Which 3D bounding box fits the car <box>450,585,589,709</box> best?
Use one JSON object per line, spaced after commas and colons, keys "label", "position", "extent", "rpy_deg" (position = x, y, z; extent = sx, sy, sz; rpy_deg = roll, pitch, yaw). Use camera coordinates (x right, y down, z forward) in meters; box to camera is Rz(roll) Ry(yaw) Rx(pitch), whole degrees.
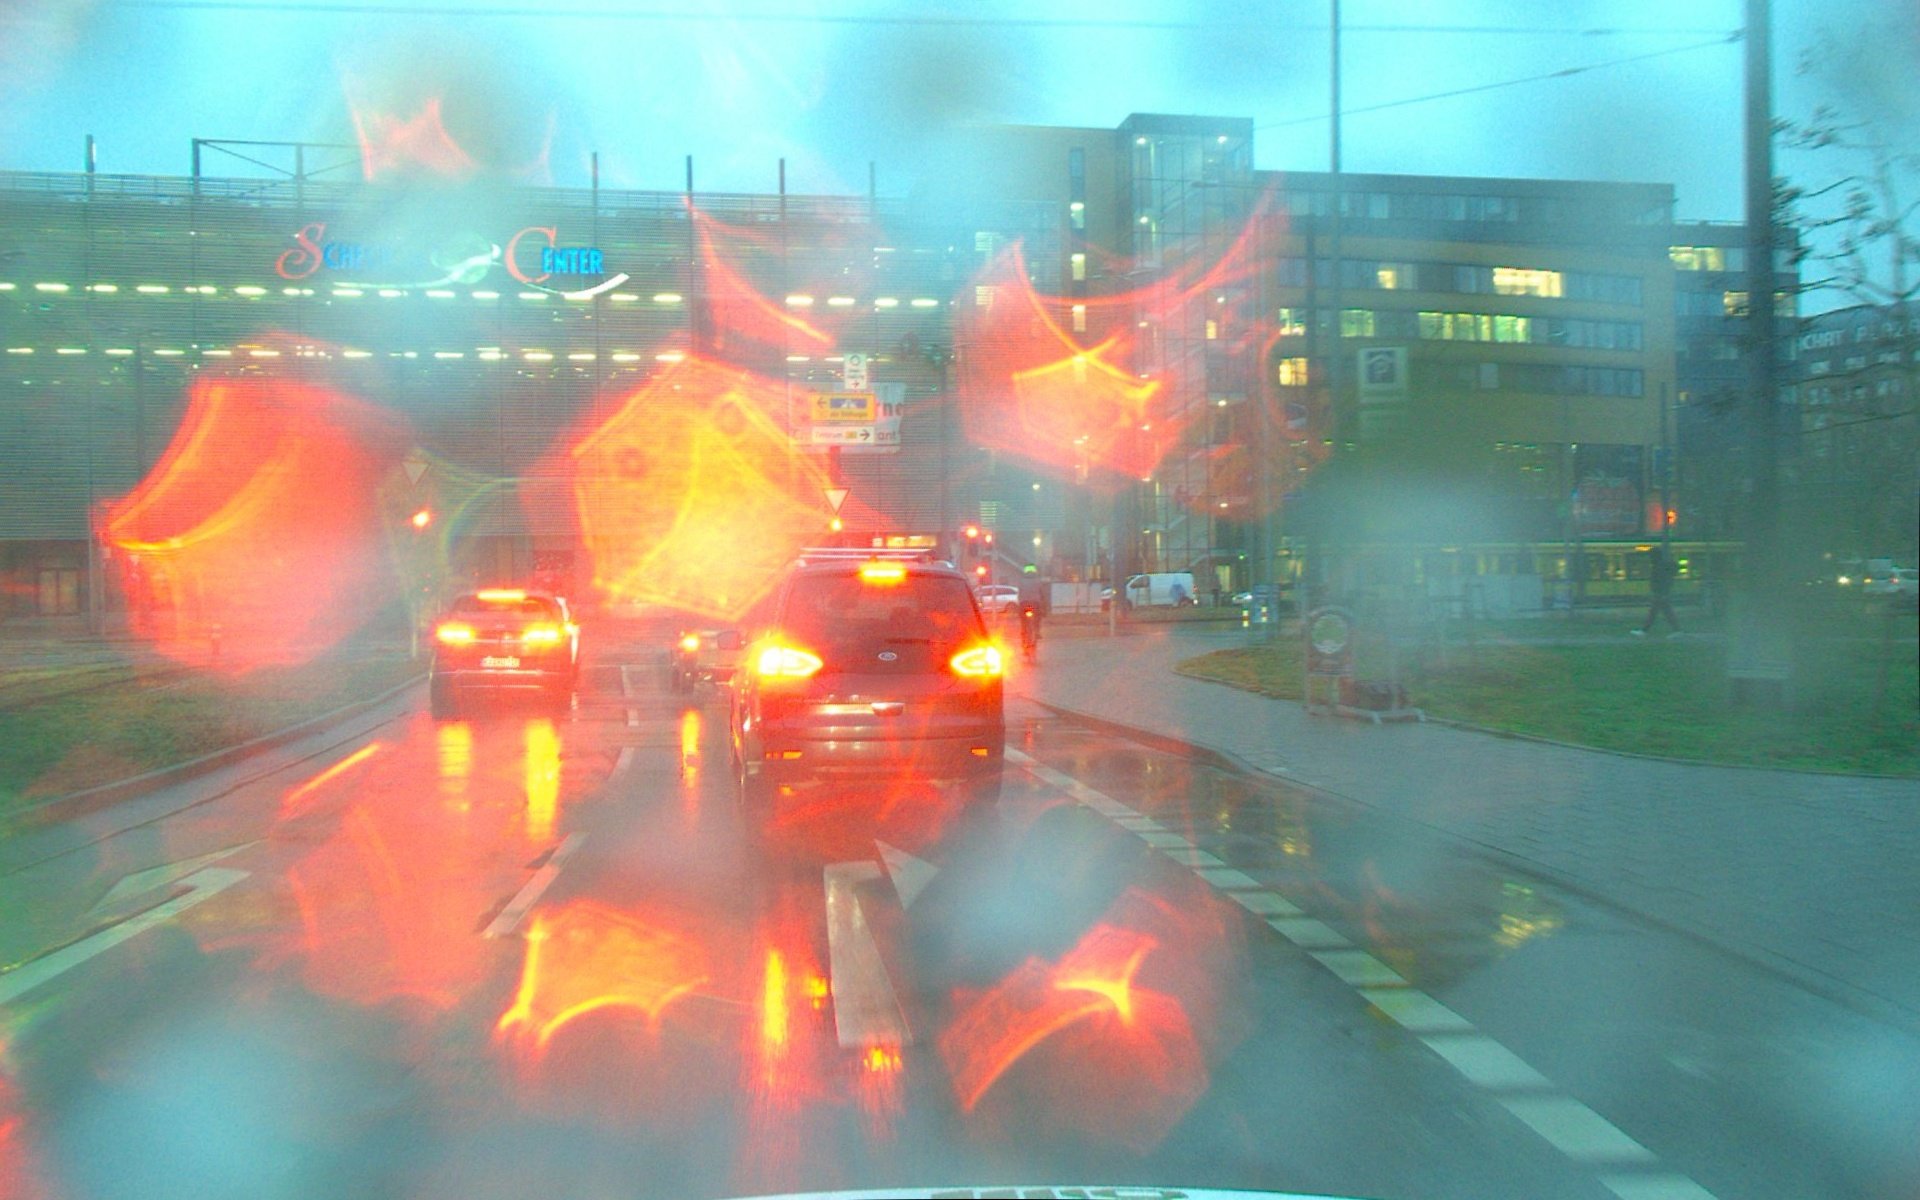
{"label": "car", "position": [-6.292, 0.622, 23.950], "extent": [1.722, 1.601, 3.988], "rpy_deg": [-1, 0, -12]}

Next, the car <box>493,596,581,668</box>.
{"label": "car", "position": [-8.211, 0.577, 31.953], "extent": [1.515, 1.273, 4.050], "rpy_deg": [-1, 0, -16]}

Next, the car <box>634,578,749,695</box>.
{"label": "car", "position": [-4.353, 0.543, 26.466], "extent": [1.608, 1.726, 3.659], "rpy_deg": [0, 0, -13]}

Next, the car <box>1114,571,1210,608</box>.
{"label": "car", "position": [10.091, -0.532, 82.631], "extent": [4.348, 1.623, 1.791], "rpy_deg": [3, -1, -17]}

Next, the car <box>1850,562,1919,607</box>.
{"label": "car", "position": [43.926, -0.722, 77.280], "extent": [3.926, 2.049, 1.990], "rpy_deg": [1, 0, -19]}

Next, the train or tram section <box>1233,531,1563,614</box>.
{"label": "train or tram section", "position": [19.757, -1.287, 73.735], "extent": [16.386, 3.317, 2.319], "rpy_deg": [-2, 0, -24]}

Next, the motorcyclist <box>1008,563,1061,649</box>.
{"label": "motorcyclist", "position": [1.378, 0.107, 30.765], "extent": [0.851, 1.561, 1.107], "rpy_deg": [-1, 0, -2]}

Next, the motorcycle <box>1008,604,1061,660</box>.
{"label": "motorcycle", "position": [1.377, 0.586, 30.754], "extent": [0.835, 0.988, 1.581], "rpy_deg": [-1, 0, -2]}

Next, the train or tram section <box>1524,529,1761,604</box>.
{"label": "train or tram section", "position": [32.917, -1.630, 79.482], "extent": [12.786, 3.317, 2.320], "rpy_deg": [-2, 0, -24]}

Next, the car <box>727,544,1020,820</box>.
{"label": "car", "position": [-0.840, 0.528, 12.832], "extent": [1.704, 1.768, 4.236], "rpy_deg": [1, 0, -11]}

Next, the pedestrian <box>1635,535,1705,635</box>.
{"label": "pedestrian", "position": [14.259, -0.297, 33.243], "extent": [1.145, 1.957, 0.899], "rpy_deg": [1, 0, 15]}

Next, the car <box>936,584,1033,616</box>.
{"label": "car", "position": [1.186, 0.007, 80.428], "extent": [4.347, 1.414, 1.792], "rpy_deg": [-1, 0, -16]}
